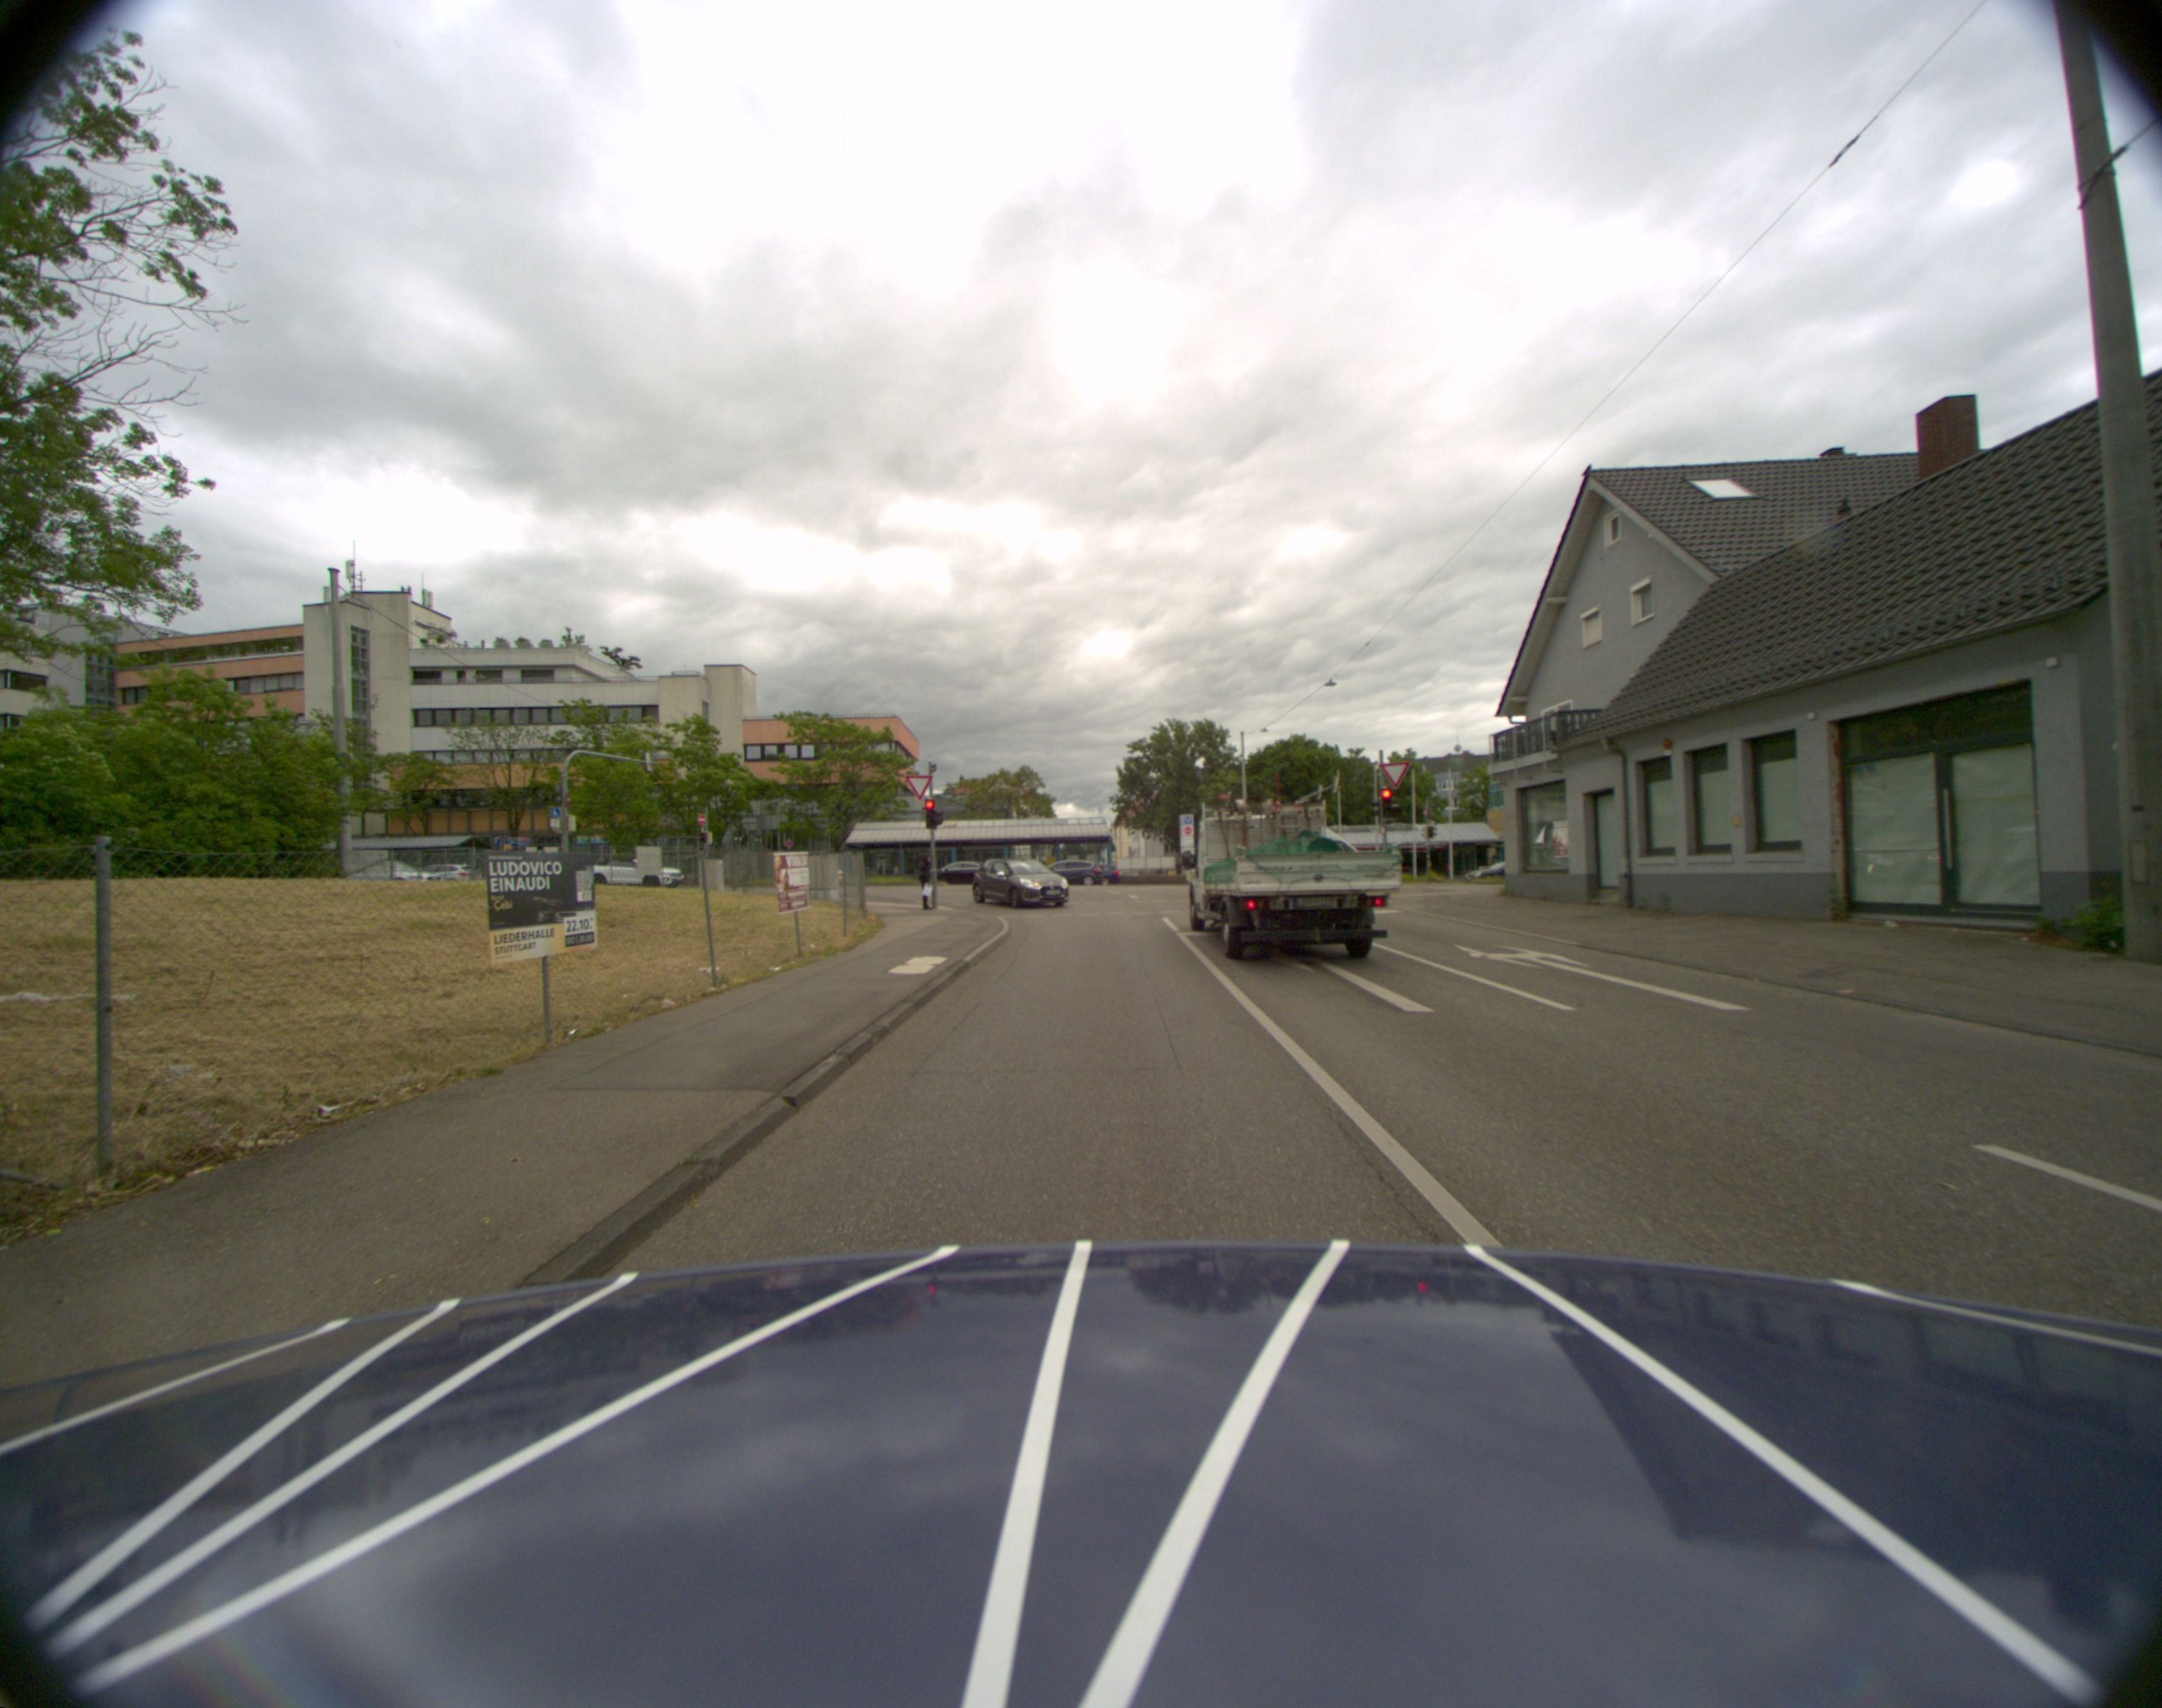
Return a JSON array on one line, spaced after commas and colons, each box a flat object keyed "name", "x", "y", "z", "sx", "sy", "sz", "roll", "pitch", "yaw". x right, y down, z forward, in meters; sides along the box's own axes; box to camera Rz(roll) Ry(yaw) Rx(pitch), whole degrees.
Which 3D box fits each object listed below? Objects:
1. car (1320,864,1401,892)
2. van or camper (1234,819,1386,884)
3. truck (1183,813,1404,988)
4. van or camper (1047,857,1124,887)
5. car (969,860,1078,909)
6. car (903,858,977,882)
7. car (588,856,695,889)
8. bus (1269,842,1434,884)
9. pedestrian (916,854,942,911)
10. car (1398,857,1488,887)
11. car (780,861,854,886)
[{"name": "car", "x": 17.203, "y": 1.452, "z": 46.892, "sx": 4.281, "sy": 1.630, "sz": 2.000, "roll": -1, "pitch": 0, "yaw": -1}, {"name": "van or camper", "x": 9.841, "y": -0.109, "z": 33.021, "sx": 5.933, "sy": 2.657, "sz": 2.258, "roll": -1, "pitch": 1, "yaw": 3}, {"name": "truck", "x": 3.101, "y": 0.581, "z": 12.840, "sx": 2.126, "sy": 2.188, "sz": 6.590, "roll": 0, "pitch": 0, "yaw": 2}, {"name": "van or camper", "x": 0.274, "y": 1.078, "z": 46.881, "sx": 4.575, "sy": 1.612, "sz": 1.873, "roll": 2, "pitch": 0, "yaw": -1}, {"name": "car", "x": -1.880, "y": 0.894, "z": 23.757, "sx": 1.651, "sy": 1.390, "sz": 3.771, "roll": 0, "pitch": 0, "yaw": -36}, {"name": "car", "x": -7.982, "y": 0.916, "z": 43.258, "sx": 3.914, "sy": 1.303, "sz": 1.668, "roll": 0, "pitch": 0, "yaw": 0}, {"name": "car", "x": -21.326, "y": 0.884, "z": 36.991, "sx": 3.998, "sy": 1.503, "sz": 1.999, "roll": 0, "pitch": 0, "yaw": -3}, {"name": "bus", "x": 20.683, "y": 0.710, "z": 58.545, "sx": 11.844, "sy": 3.044, "sz": 2.001, "roll": -1, "pitch": -2, "yaw": 5}, {"name": "pedestrian", "x": -4.284, "y": 0.799, "z": 21.475, "sx": 0.553, "sy": 1.581, "sz": 0.672, "roll": 2, "pitch": 1, "yaw": -1}, {"name": "car", "x": 20.916, "y": 1.021, "z": 43.988, "sx": 4.281, "sy": 1.630, "sz": 2.000, "roll": -1, "pitch": 0, "yaw": -1}, {"name": "car", "x": -16.127, "y": 1.163, "z": 46.601, "sx": 3.932, "sy": 1.372, "sz": 1.631, "roll": 2, "pitch": 0, "yaw": 1}]
